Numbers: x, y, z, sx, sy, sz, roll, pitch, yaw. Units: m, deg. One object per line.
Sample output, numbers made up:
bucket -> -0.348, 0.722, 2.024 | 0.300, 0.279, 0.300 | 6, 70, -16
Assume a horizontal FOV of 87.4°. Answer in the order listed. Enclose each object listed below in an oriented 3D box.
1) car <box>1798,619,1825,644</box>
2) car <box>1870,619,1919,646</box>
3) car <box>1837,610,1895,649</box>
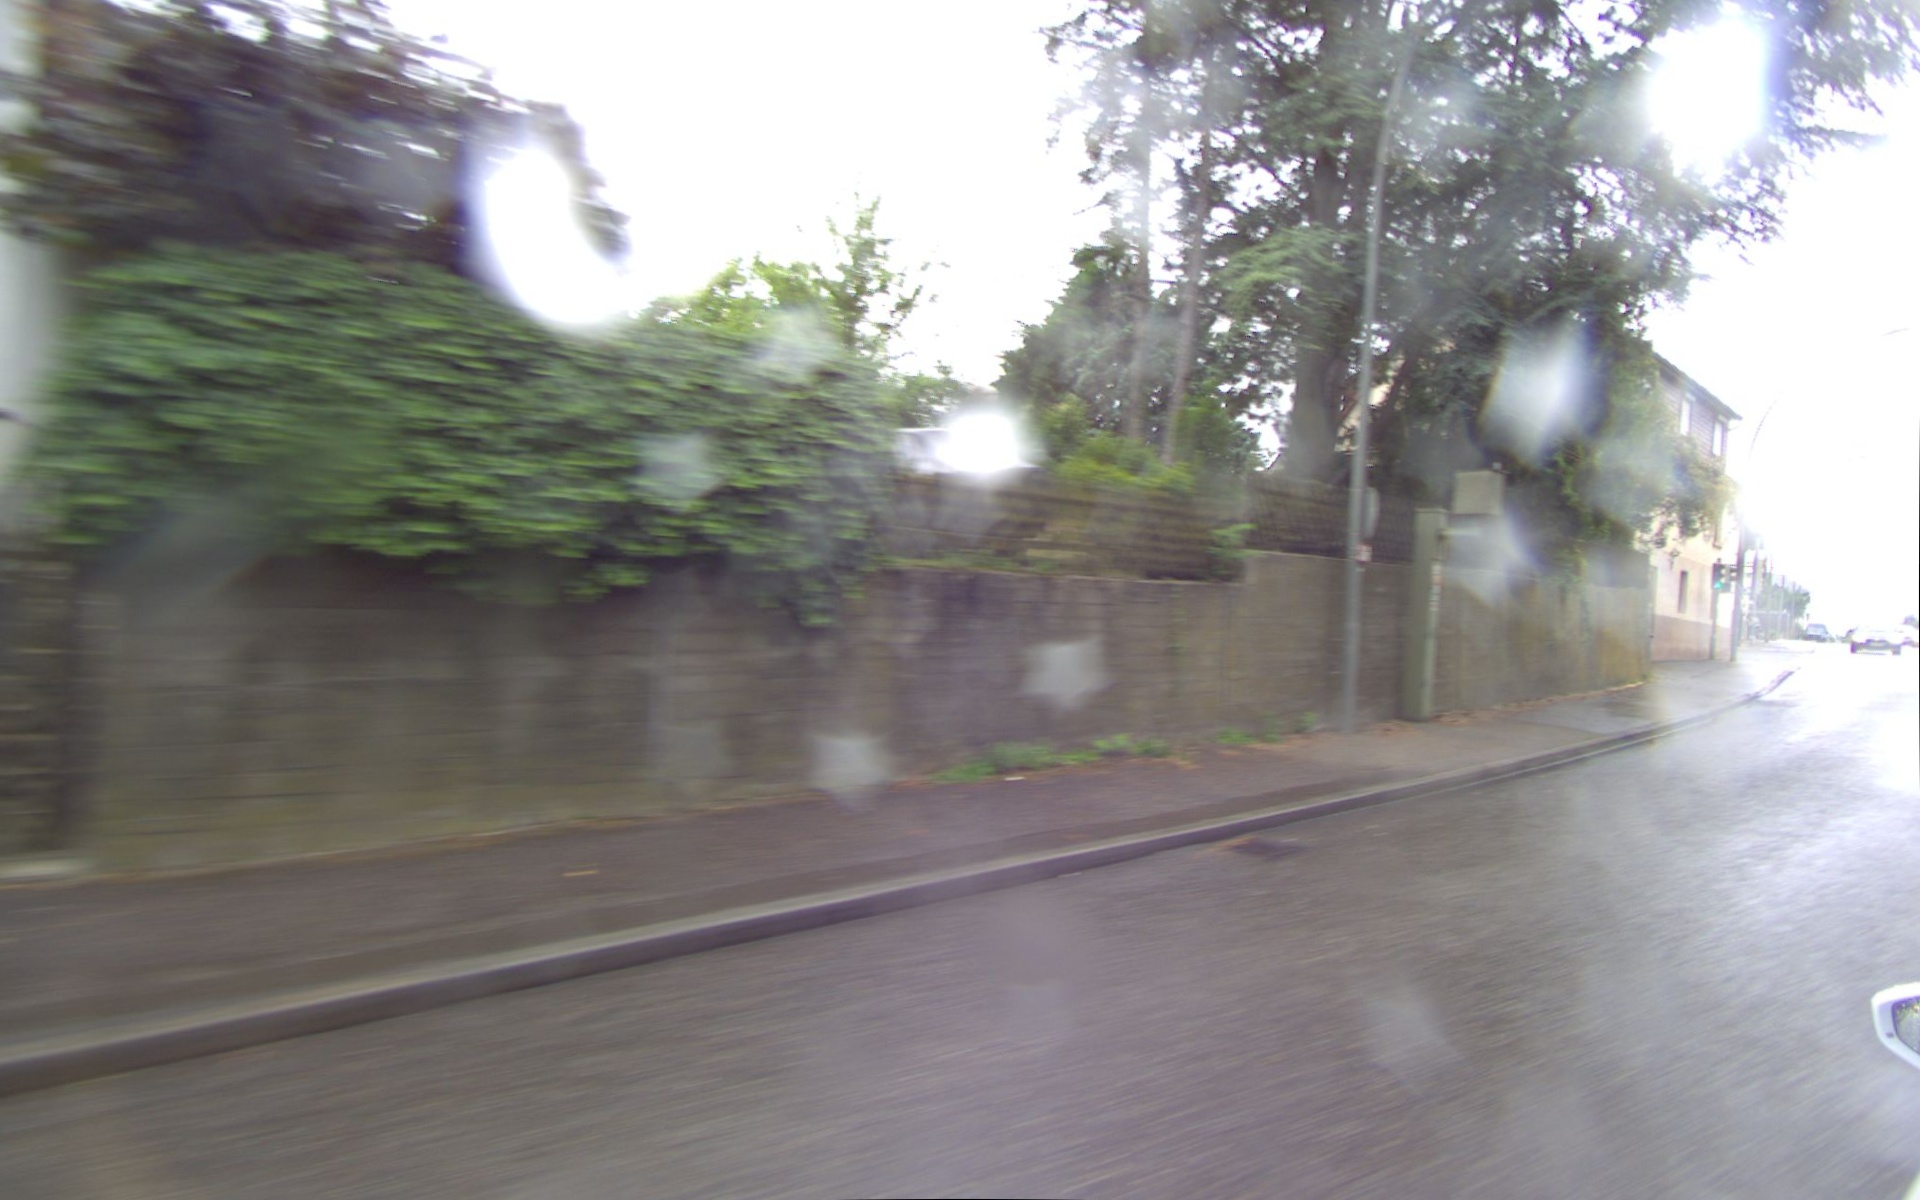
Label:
car -> 99.849, 3.718, 117.728 | 2.071, 2.684, 5.887 | 5, 1, 42
car -> 61.406, 2.124, 65.910 | 1.917, 1.595, 4.213 | 2, 1, 34
car -> 43.920, 1.410, 48.735 | 1.971, 1.729, 3.979 | 2, 0, 42
